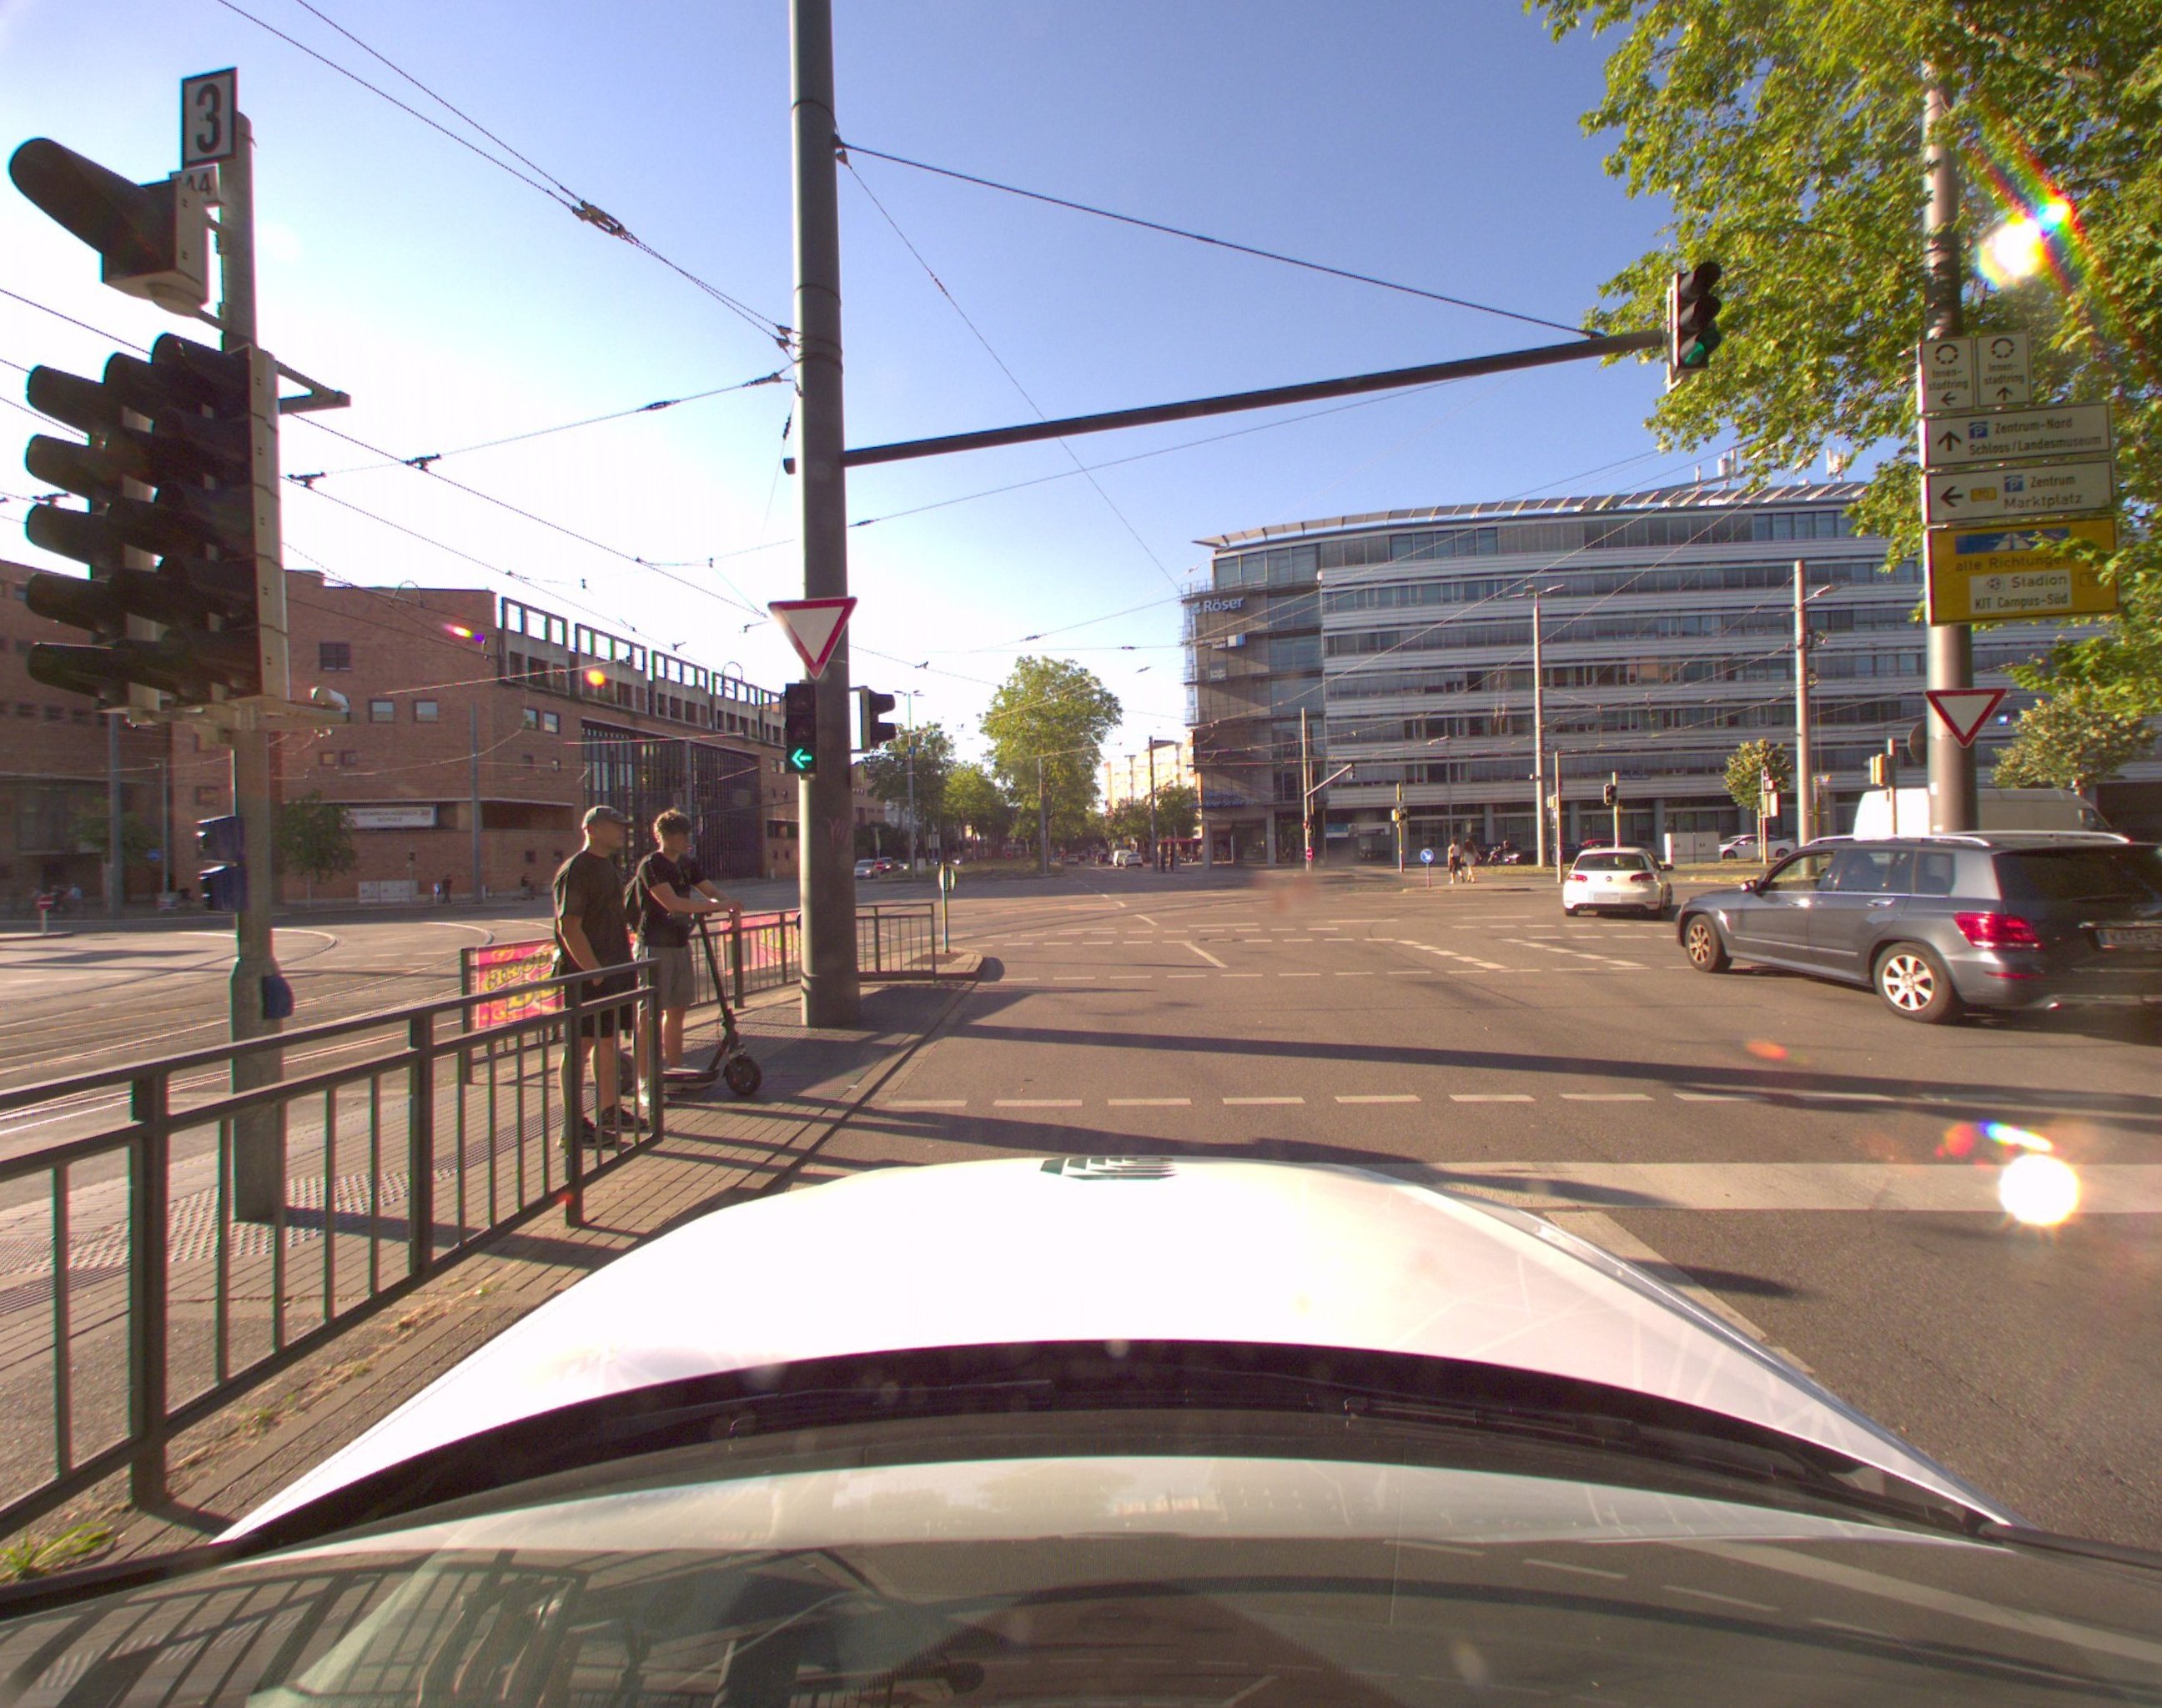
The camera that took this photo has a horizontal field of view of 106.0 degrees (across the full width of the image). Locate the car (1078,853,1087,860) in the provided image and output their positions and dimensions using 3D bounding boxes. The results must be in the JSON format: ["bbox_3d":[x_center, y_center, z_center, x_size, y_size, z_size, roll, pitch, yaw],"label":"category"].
[{"bbox_3d":[0.334,0.536,165.928,1.759,1.404,4.293,-1,0,-2],"label":"car"}]

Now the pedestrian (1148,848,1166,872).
[{"bbox_3d":[6.180,0.488,66.276,1.337,1.950,1.011,-2,-1,1],"label":"pedestrian"}]

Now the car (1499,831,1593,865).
[{"bbox_3d":[26.474,-0.327,46.468,4.234,1.723,1.886,-2,0,4],"label":"car"}]

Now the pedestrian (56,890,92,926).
[{"bbox_3d":[-60.297,3.211,48.759,1.003,2.052,0.850,-2,0,-1],"label":"pedestrian"}]

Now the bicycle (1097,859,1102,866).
[{"bbox_3d":[2.018,0.953,88.582,0.489,0.788,1.862,-1,0,2],"label":"bicycle"}]

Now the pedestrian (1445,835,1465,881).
[{"bbox_3d":[14.568,0.140,31.733,0.671,1.759,0.746,-2,0,24],"label":"pedestrian"}]

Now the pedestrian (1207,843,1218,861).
[{"bbox_3d":[16.308,-0.265,101.357,1.305,2.190,1.173,-1,-1,8],"label":"pedestrian"}]

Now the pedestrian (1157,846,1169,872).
[{"bbox_3d":[6.447,0.403,64.294,0.846,2.014,0.707,0,-1,-1],"label":"pedestrian"}]

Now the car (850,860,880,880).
[{"bbox_3d":[-17.958,1.299,67.872,1.618,1.577,3.994,-2,0,-4],"label":"car"}]

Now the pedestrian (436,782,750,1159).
[{"bbox_3d":[-2.662,0.603,4.563,1.161,1.884,0.856,-2,0,6],"label":"pedestrian"}]

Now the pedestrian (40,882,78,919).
[{"bbox_3d":[-58.730,2.682,46.796,1.003,2.052,0.850,-2,0,-1],"label":"pedestrian"}]

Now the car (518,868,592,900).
[{"bbox_3d":[-36.637,2.053,56.844,1.983,2.013,4.201,-2,0,7],"label":"car"}]

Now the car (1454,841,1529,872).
[{"bbox_3d":[27.307,0.148,54.270,3.972,2.014,2.001,0,-1,2],"label":"car"}]

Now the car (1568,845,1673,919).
[{"bbox_3d":[11.883,0.538,17.836,1.619,1.428,4.012,-1,0,38],"label":"car"}]

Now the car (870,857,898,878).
[{"bbox_3d":[-18.209,1.222,75.559,1.819,1.790,3.994,-2,0,-4],"label":"car"}]

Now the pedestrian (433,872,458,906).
[{"bbox_3d":[-35.972,1.955,46.108,0.721,1.902,0.875,0,-1,-1],"label":"pedestrian"}]

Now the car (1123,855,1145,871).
[{"bbox_3d":[5.375,0.945,82.759,2.022,1.596,4.001,0,-1,2],"label":"car"}]

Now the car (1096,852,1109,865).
[{"bbox_3d":[3.297,0.692,126.896,1.986,2.014,4.001,0,-1,2],"label":"car"}]

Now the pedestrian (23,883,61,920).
[{"bbox_3d":[-60.087,2.735,47.114,1.003,2.052,0.850,-2,0,-1],"label":"pedestrian"}]

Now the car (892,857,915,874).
[{"bbox_3d":[-18.159,1.164,83.364,1.673,1.607,3.994,0,-1,-4],"label":"car"}]

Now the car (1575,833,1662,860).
[{"bbox_3d":[32.050,-0.435,48.619,3.966,1.552,1.800,0,-1,6],"label":"car"}]

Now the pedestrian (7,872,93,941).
[{"bbox_3d":[-30.963,1.546,24.482,1.029,2.014,1.208,0,-1,1],"label":"pedestrian"}]

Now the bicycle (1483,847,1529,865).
[{"bbox_3d":[25.579,0.132,49.026,2.397,1.022,0.638,-2,0,6],"label":"bicycle"}]

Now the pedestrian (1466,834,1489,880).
[{"bbox_3d":[15.368,0.108,31.561,0.677,1.759,0.746,-2,0,29],"label":"pedestrian"}]

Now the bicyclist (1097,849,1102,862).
[{"bbox_3d":[2.015,0.138,88.520,0.485,1.439,0.616,0,-1,1],"label":"bicyclist"}]

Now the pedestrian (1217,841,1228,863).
[{"bbox_3d":[12.924,-0.163,74.513,0.866,2.014,0.794,0,-2,1],"label":"pedestrian"}]

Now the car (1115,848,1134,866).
[{"bbox_3d":[4.720,0.339,89.644,1.986,2.014,4.001,0,-1,2],"label":"car"}]

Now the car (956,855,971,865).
[{"bbox_3d":[-21.134,1.046,146.674,1.837,1.783,4.002,-2,0,2],"label":"car"}]

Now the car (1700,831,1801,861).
[{"bbox_3d":[37.200,-0.449,45.315,3.968,1.596,1.884,0,-1,5],"label":"car"}]

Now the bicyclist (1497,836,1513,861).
[{"bbox_3d":[25.515,-0.337,49.030,0.660,1.503,0.614,-2,0,7],"label":"bicyclist"}]

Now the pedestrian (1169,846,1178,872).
[{"bbox_3d":[7.140,0.397,62.807,0.584,2.014,0.620,0,-1,2],"label":"pedestrian"}]

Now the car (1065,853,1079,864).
[{"bbox_3d":[-1.295,0.665,120.908,1.740,1.418,4.004,-1,1,4],"label":"car"}]

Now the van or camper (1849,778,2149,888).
[{"bbox_3d":[24.427,-0.563,21.763,6.471,2.614,2.001,-2,0,-7],"label":"van or camper"}]

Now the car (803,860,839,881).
[{"bbox_3d":[-27.058,1.733,84.869,1.867,2.013,4.477,-2,0,4],"label":"car"}]

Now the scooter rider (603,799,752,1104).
[{"bbox_3d":[-2.613,0.604,5.328,0.563,1.853,0.681,-2,-2,6],"label":"scooter rider"}]

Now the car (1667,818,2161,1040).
[{"bbox_3d":[8.091,0.549,8.144,1.755,1.636,4.257,-1,0,6],"label":"car"}]

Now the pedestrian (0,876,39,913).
[{"bbox_3d":[-60.064,2.257,45.984,1.155,2.013,0.910,-2,0,-2],"label":"pedestrian"}]

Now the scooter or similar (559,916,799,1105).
[{"bbox_3d":[-2.578,0.986,5.305,1.196,1.081,0.649,-2,0,5],"label":"scooter or similar"}]
